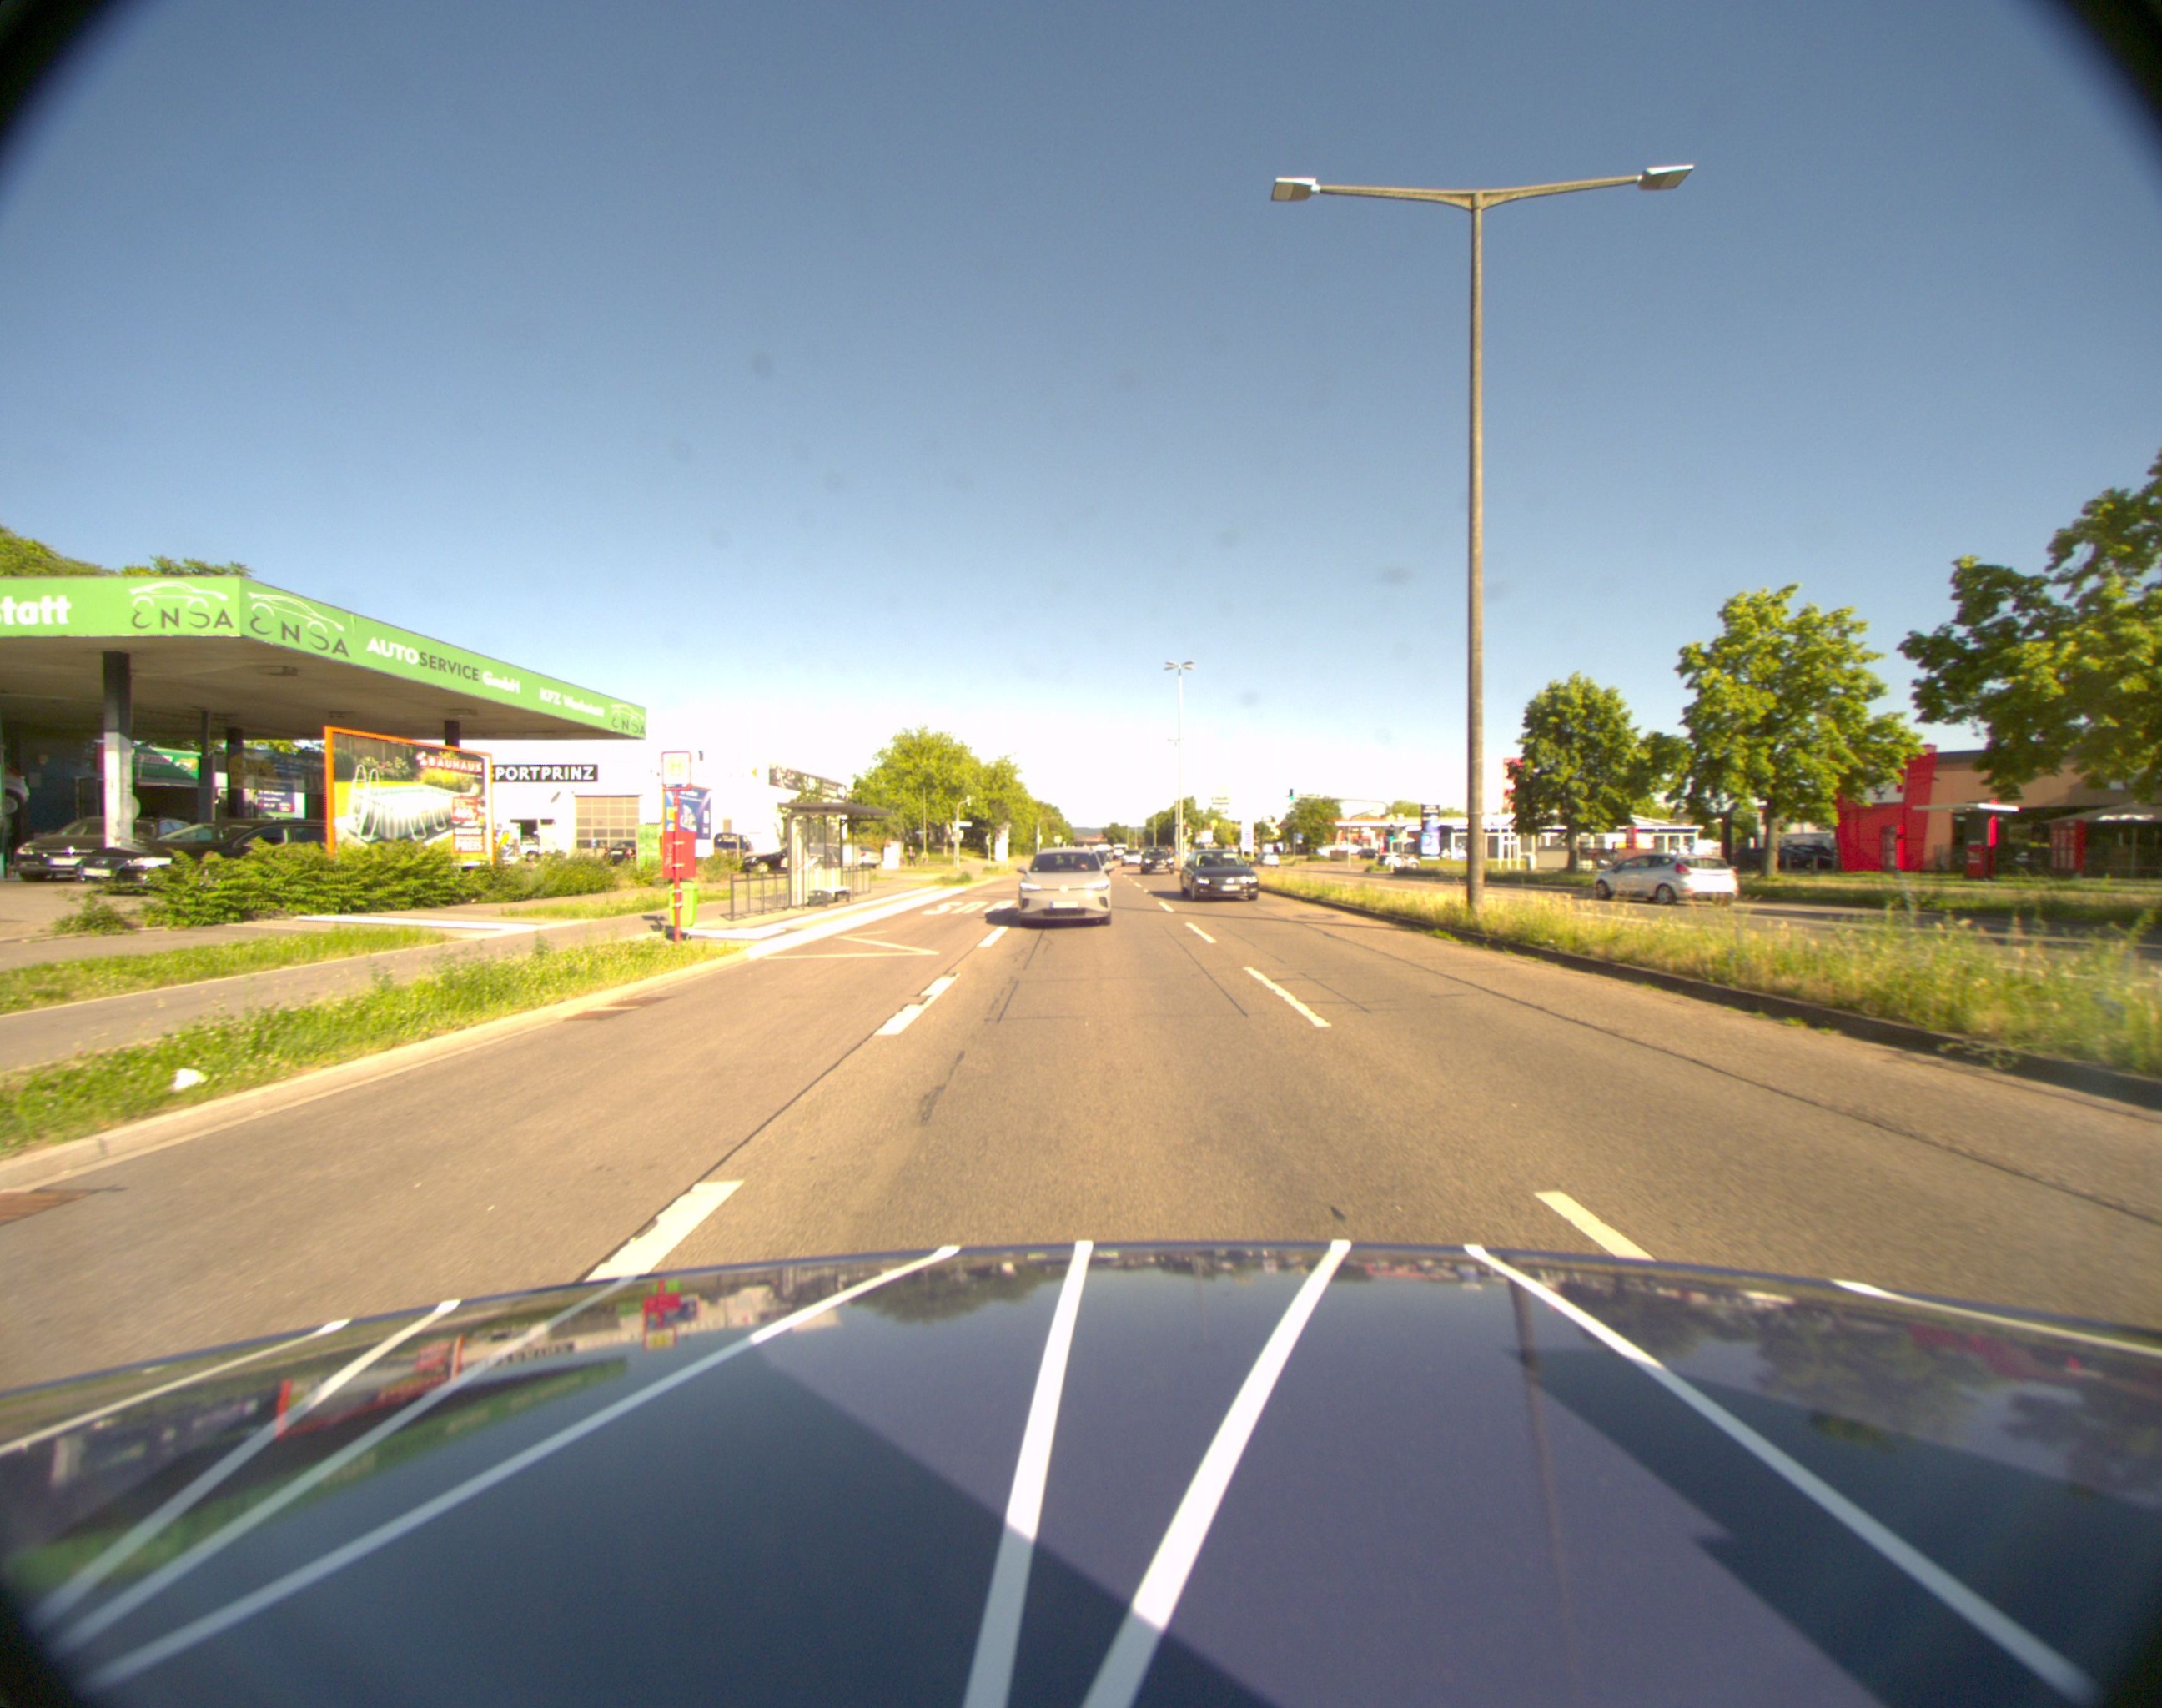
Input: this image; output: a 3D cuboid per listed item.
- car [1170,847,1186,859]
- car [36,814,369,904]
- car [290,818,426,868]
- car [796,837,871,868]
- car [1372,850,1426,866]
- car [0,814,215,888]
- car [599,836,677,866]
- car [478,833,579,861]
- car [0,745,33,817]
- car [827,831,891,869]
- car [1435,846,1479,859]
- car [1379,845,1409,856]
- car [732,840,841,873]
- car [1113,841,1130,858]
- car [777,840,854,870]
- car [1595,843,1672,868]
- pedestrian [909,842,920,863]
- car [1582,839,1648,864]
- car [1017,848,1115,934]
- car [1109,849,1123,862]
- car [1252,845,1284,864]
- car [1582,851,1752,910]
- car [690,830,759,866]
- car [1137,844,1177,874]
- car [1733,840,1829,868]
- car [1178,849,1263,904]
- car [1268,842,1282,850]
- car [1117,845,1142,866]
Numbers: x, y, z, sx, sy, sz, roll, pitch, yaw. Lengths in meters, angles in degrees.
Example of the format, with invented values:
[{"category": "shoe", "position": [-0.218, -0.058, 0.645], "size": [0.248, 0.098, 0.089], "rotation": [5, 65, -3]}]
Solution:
[{"category": "car", "position": [14.702, -0.170, 115.108], "size": [1.879, 1.633, 4.170], "rotation": [1, 1, 1]}, {"category": "car", "position": [-17.457, 0.071, 15.497], "size": [1.748, 1.564, 4.248], "rotation": [0, 1, 2]}, {"category": "car", "position": [-29.893, -0.467, 31.499], "size": [3.700, 1.896, 1.924], "rotation": [-2, 1, 1]}, {"category": "car", "position": [-15.216, -0.090, 46.756], "size": [3.924, 1.444, 1.726], "rotation": [7, 2, 12]}, {"category": "car", "position": [29.075, 0.359, 69.493], "size": [4.199, 1.465, 1.997], "rotation": [0, 1, -17]}, {"category": "car", "position": [-22.006, -0.080, 17.354], "size": [2.003, 1.477, 3.989], "rotation": [-2, 1, -35]}, {"category": "car", "position": [-23.873, -0.227, 41.128], "size": [1.771, 1.245, 4.213], "rotation": [5, 3, -2]}, {"category": "car", "position": [-31.178, -0.383, 42.932], "size": [4.213, 1.400, 1.994], "rotation": [2, 1, 0]}, {"category": "car", "position": [-27.524, -1.782, 17.326], "size": [1.923, 1.745, 3.777], "rotation": [1, 1, 2]}, {"category": "car", "position": [-14.592, -0.290, 49.926], "size": [3.986, 2.002, 1.690], "rotation": [8, 1, 33]}, {"category": "car", "position": [43.927, -0.183, 88.822], "size": [4.116, 1.424, 1.901], "rotation": [1, 1, 1]}, {"category": "car", "position": [38.897, -0.415, 94.496], "size": [1.900, 1.317, 4.118], "rotation": [1, 1, -1]}, {"category": "car", "position": [-15.103, 0.140, 39.121], "size": [1.895, 1.522, 4.847], "rotation": [3, 1, 44]}, {"category": "car", "position": [5.718, -0.635, 107.508], "size": [2.089, 2.230, 3.999], "rotation": [-2, 1, 1]}, {"category": "car", "position": [-15.183, 0.027, 43.523], "size": [3.614, 1.283, 1.841], "rotation": [7, 2, 2]}, {"category": "car", "position": [39.325, 0.083, 54.166], "size": [1.899, 1.652, 4.121], "rotation": [-3, 1, -42]}, {"category": "pedestrian", "position": [-13.309, -0.127, 60.775], "size": [0.759, 1.706, 0.617], "rotation": [0, 1, 1]}, {"category": "car", "position": [41.275, -0.185, 58.768], "size": [1.851, 1.840, 3.820], "rotation": [-3, 1, -39]}, {"category": "car", "position": [-0.234, 0.700, 16.781], "size": [1.848, 1.615, 4.265], "rotation": [-1, 1, 1]}, {"category": "car", "position": [5.483, 0.229, 120.584], "size": [1.998, 2.002, 3.999], "rotation": [-2, 1, 1]}, {"category": "car", "position": [17.411, 0.028, 70.832], "size": [1.998, 1.674, 4.176], "rotation": [1, 1, 1]}, {"category": "car", "position": [16.448, 0.676, 21.630], "size": [1.645, 1.442, 4.111], "rotation": [2, 1, 1]}, {"category": "car", "position": [-19.619, -0.360, 42.079], "size": [1.687, 1.773, 4.594], "rotation": [3, 1, -1]}, {"category": "car", "position": [4.557, 0.268, 46.068], "size": [1.998, 1.674, 4.695], "rotation": [-2, 1, 1]}, {"category": "car", "position": [43.873, -0.013, 47.678], "size": [1.899, 1.652, 4.230], "rotation": [-3, 1, -42]}, {"category": "car", "position": [4.048, 0.602, 22.715], "size": [1.848, 1.445, 4.265], "rotation": [-1, 1, 1]}, {"category": "car", "position": [39.900, -1.711, 156.383], "size": [1.762, 1.604, 4.118], "rotation": [1, 1, -1]}, {"category": "car", "position": [4.414, 0.101, 69.245], "size": [1.998, 1.779, 4.270], "rotation": [-2, 1, 1]}]
